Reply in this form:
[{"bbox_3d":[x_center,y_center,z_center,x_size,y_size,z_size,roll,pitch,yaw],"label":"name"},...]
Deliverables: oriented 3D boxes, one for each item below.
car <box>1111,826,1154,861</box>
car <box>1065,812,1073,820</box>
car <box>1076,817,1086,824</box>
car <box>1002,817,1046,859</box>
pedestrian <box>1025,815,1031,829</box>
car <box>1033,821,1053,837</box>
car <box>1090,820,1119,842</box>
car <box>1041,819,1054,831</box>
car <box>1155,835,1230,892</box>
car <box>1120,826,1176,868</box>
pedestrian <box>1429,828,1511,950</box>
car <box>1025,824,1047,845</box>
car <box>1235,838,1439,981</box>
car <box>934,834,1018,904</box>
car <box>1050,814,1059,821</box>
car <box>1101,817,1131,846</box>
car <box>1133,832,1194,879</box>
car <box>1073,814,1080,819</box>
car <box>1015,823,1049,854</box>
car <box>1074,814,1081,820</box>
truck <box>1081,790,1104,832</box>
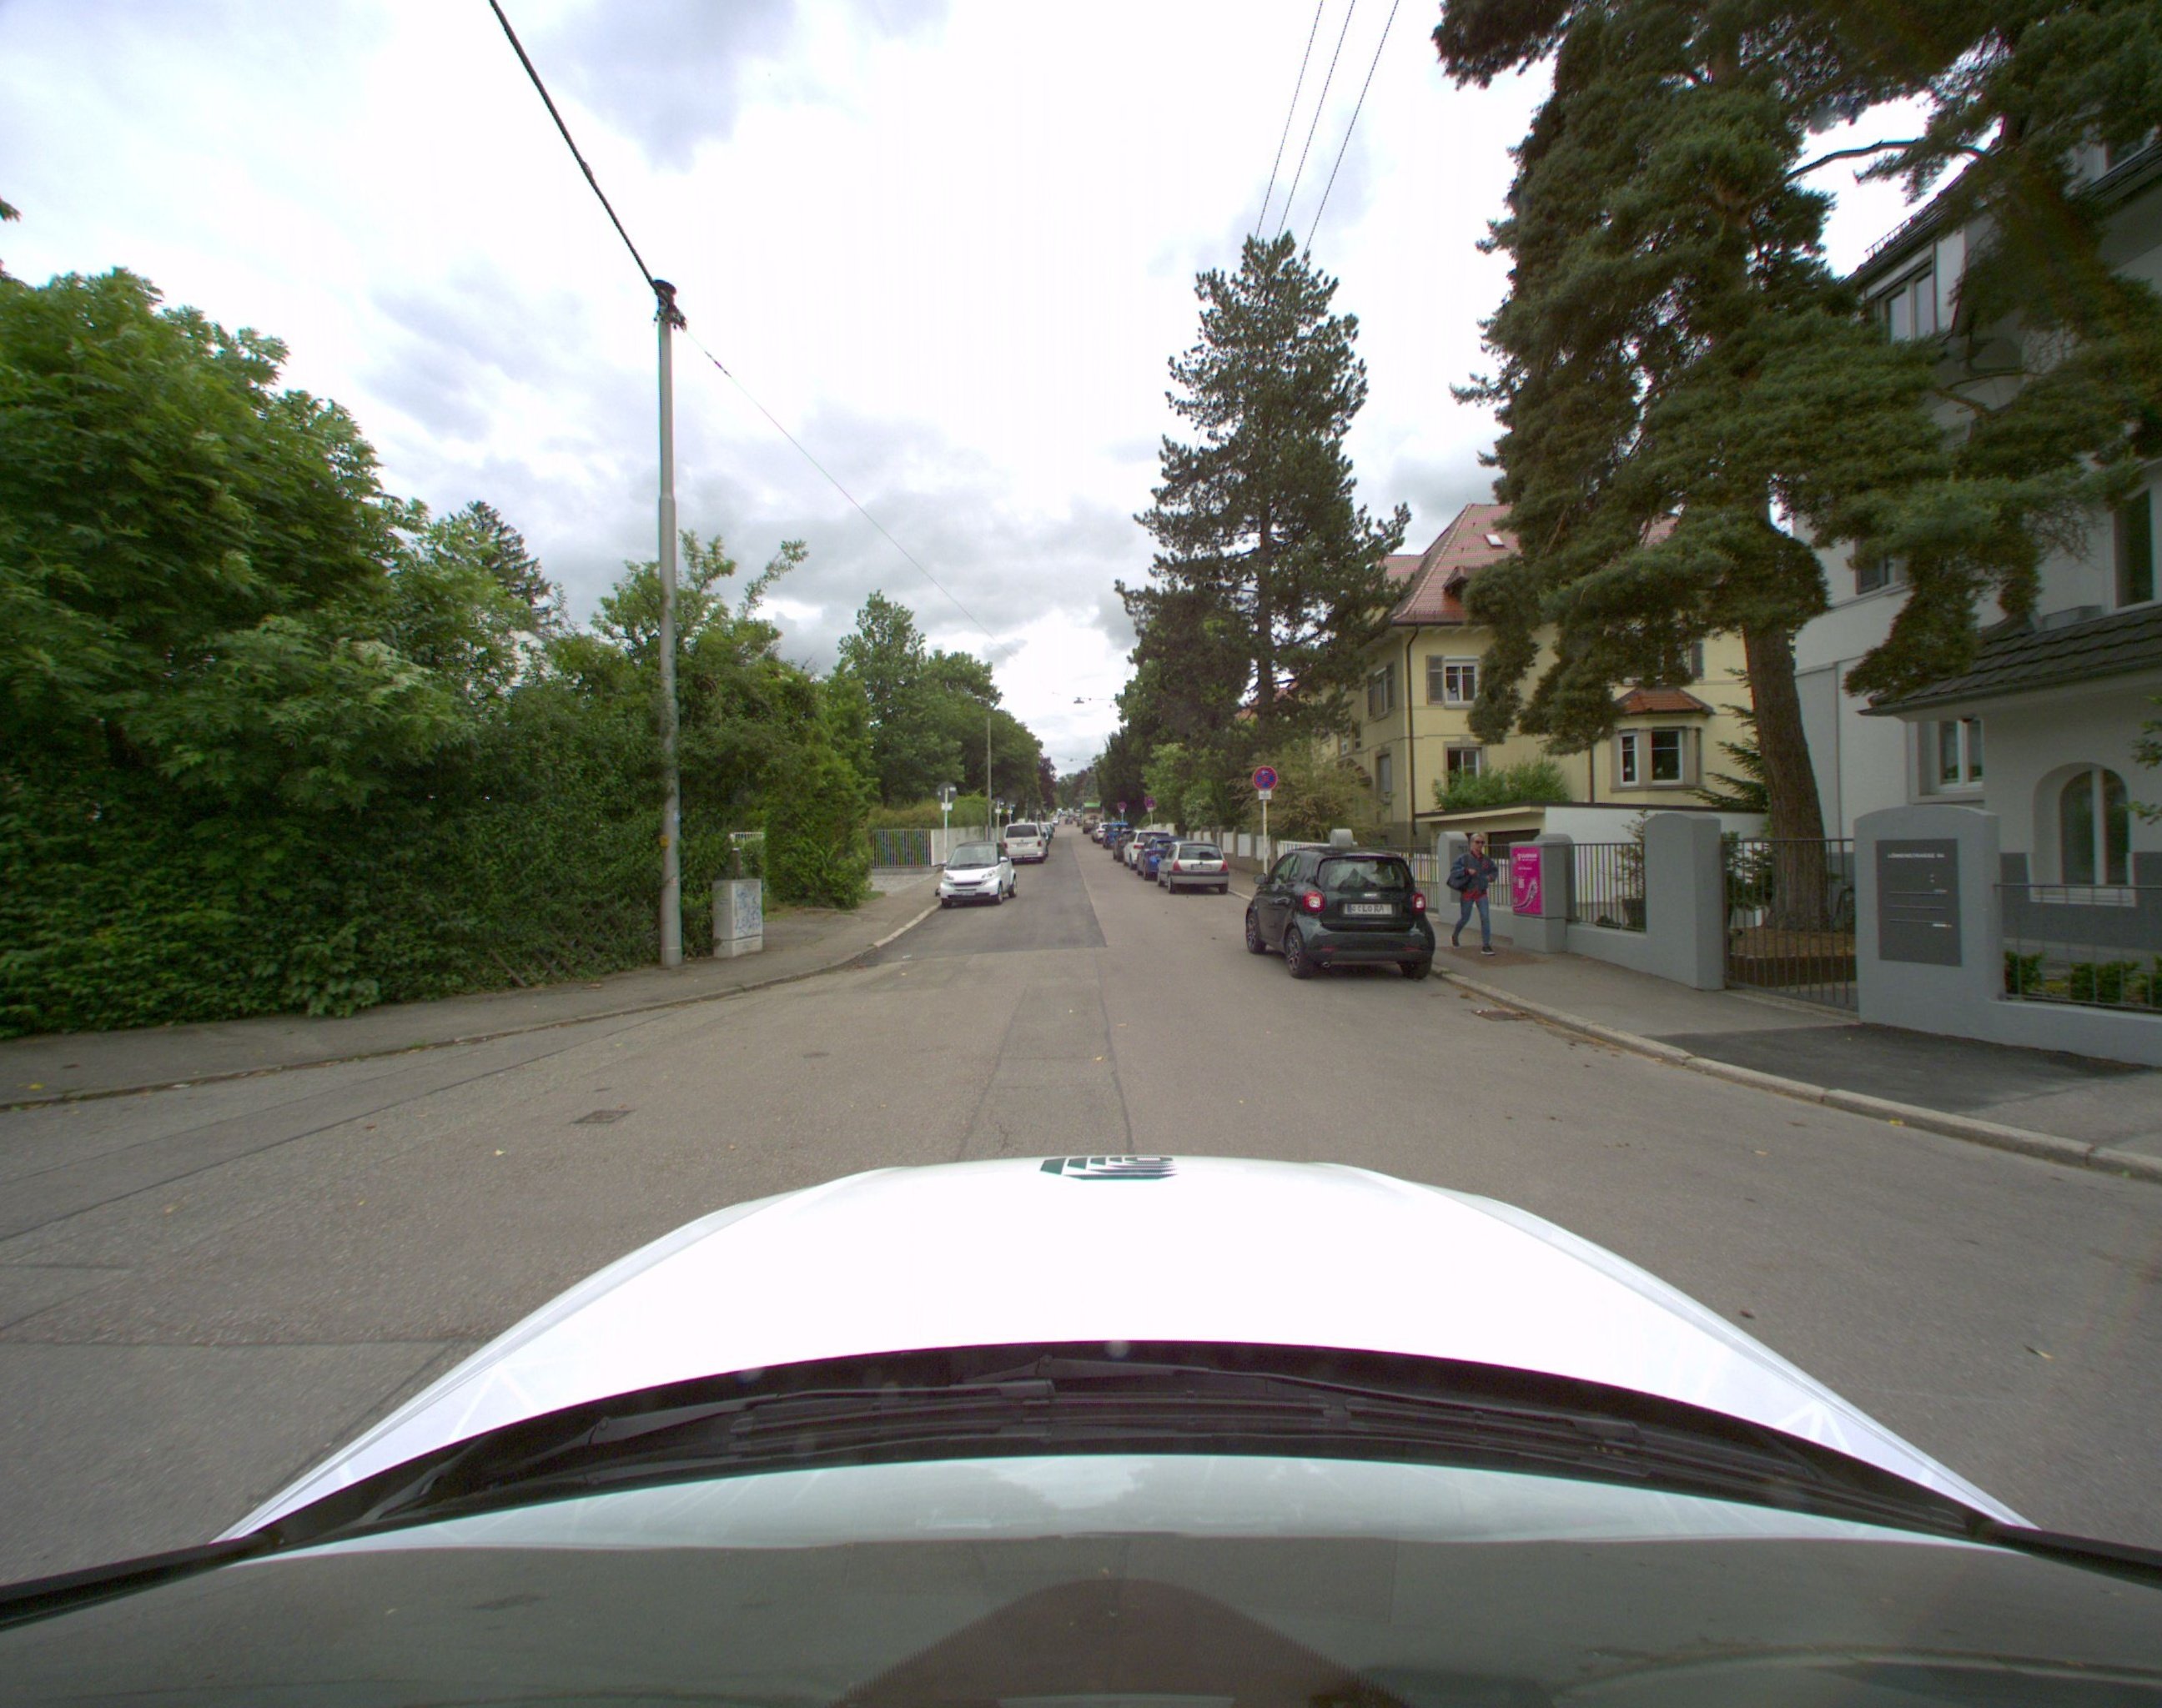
[{"bbox_3d":[2.531,-0.569,40.482,1.745,1.607,4.074,1,2,-2],"label":"car"},{"bbox_3d":[-2.796,-8.692,186.034,1.629,1.700,3.493,0,3,-2],"label":"car"},{"bbox_3d":[-0.010,-6.790,165.787,1.774,1.488,3.998,0,3,-2],"label":"car"},{"bbox_3d":[-2.761,-0.835,40.294,1.849,1.913,4.618,-3,2,-1],"label":"car"},{"bbox_3d":[-7.445,-4.532,114.642,0.851,2.013,0.699,1,2,-7],"label":"pedestrian"},{"bbox_3d":[-3.799,-2.551,82.333,1.635,1.421,4.551,-3,3,1],"label":"car"},{"bbox_3d":[1.859,-1.878,65.699,1.754,1.605,4.569,0,3,-5],"label":"car"},{"bbox_3d":[-4.478,-3.929,109.310,1.633,1.394,3.986,-3,3,-2],"label":"car"},{"bbox_3d":[3.080,0.200,23.170,1.569,1.400,3.655,1,2,-1],"label":"car"},{"bbox_3d":[2.770,-0.368,34.549,1.780,1.603,4.301,1,2,-3],"label":"car"},{"bbox_3d":[5.293,0.456,11.132,0.678,1.577,0.908,-3,0,5],"label":"pedestrian"},{"bbox_3d":[-3.615,-1.592,64.783,1.619,1.533,2.958,-3,3,-5],"label":"car"},{"bbox_3d":[3.183,0.607,10.675,1.568,1.531,2.864,2,2,-4],"label":"car"},{"bbox_3d":[-2.614,0.325,20.855,1.435,1.552,2.775,-3,2,6],"label":"car"},{"bbox_3d":[-6.035,-8.259,185.486,1.705,1.585,4.003,0,3,1],"label":"car"},{"bbox_3d":[2.331,-1.536,54.628,1.678,1.828,4.155,1,3,-2],"label":"car"},{"bbox_3d":[2.789,-0.008,28.225,1.643,1.458,4.051,1,2,-1],"label":"car"},{"bbox_3d":[-1.226,-10.031,218.243,1.784,1.529,3.735,0,3,0],"label":"car"},{"bbox_3d":[-2.777,-0.919,46.499,1.787,1.623,4.339,-2,3,-3],"label":"car"},{"bbox_3d":[-0.952,-9.451,209.373,1.806,1.335,3.631,1,4,-2],"label":"car"},{"bbox_3d":[1.256,-5.024,96.257,2.517,4.747,7.187,1,3,-1],"label":"truck"}]
